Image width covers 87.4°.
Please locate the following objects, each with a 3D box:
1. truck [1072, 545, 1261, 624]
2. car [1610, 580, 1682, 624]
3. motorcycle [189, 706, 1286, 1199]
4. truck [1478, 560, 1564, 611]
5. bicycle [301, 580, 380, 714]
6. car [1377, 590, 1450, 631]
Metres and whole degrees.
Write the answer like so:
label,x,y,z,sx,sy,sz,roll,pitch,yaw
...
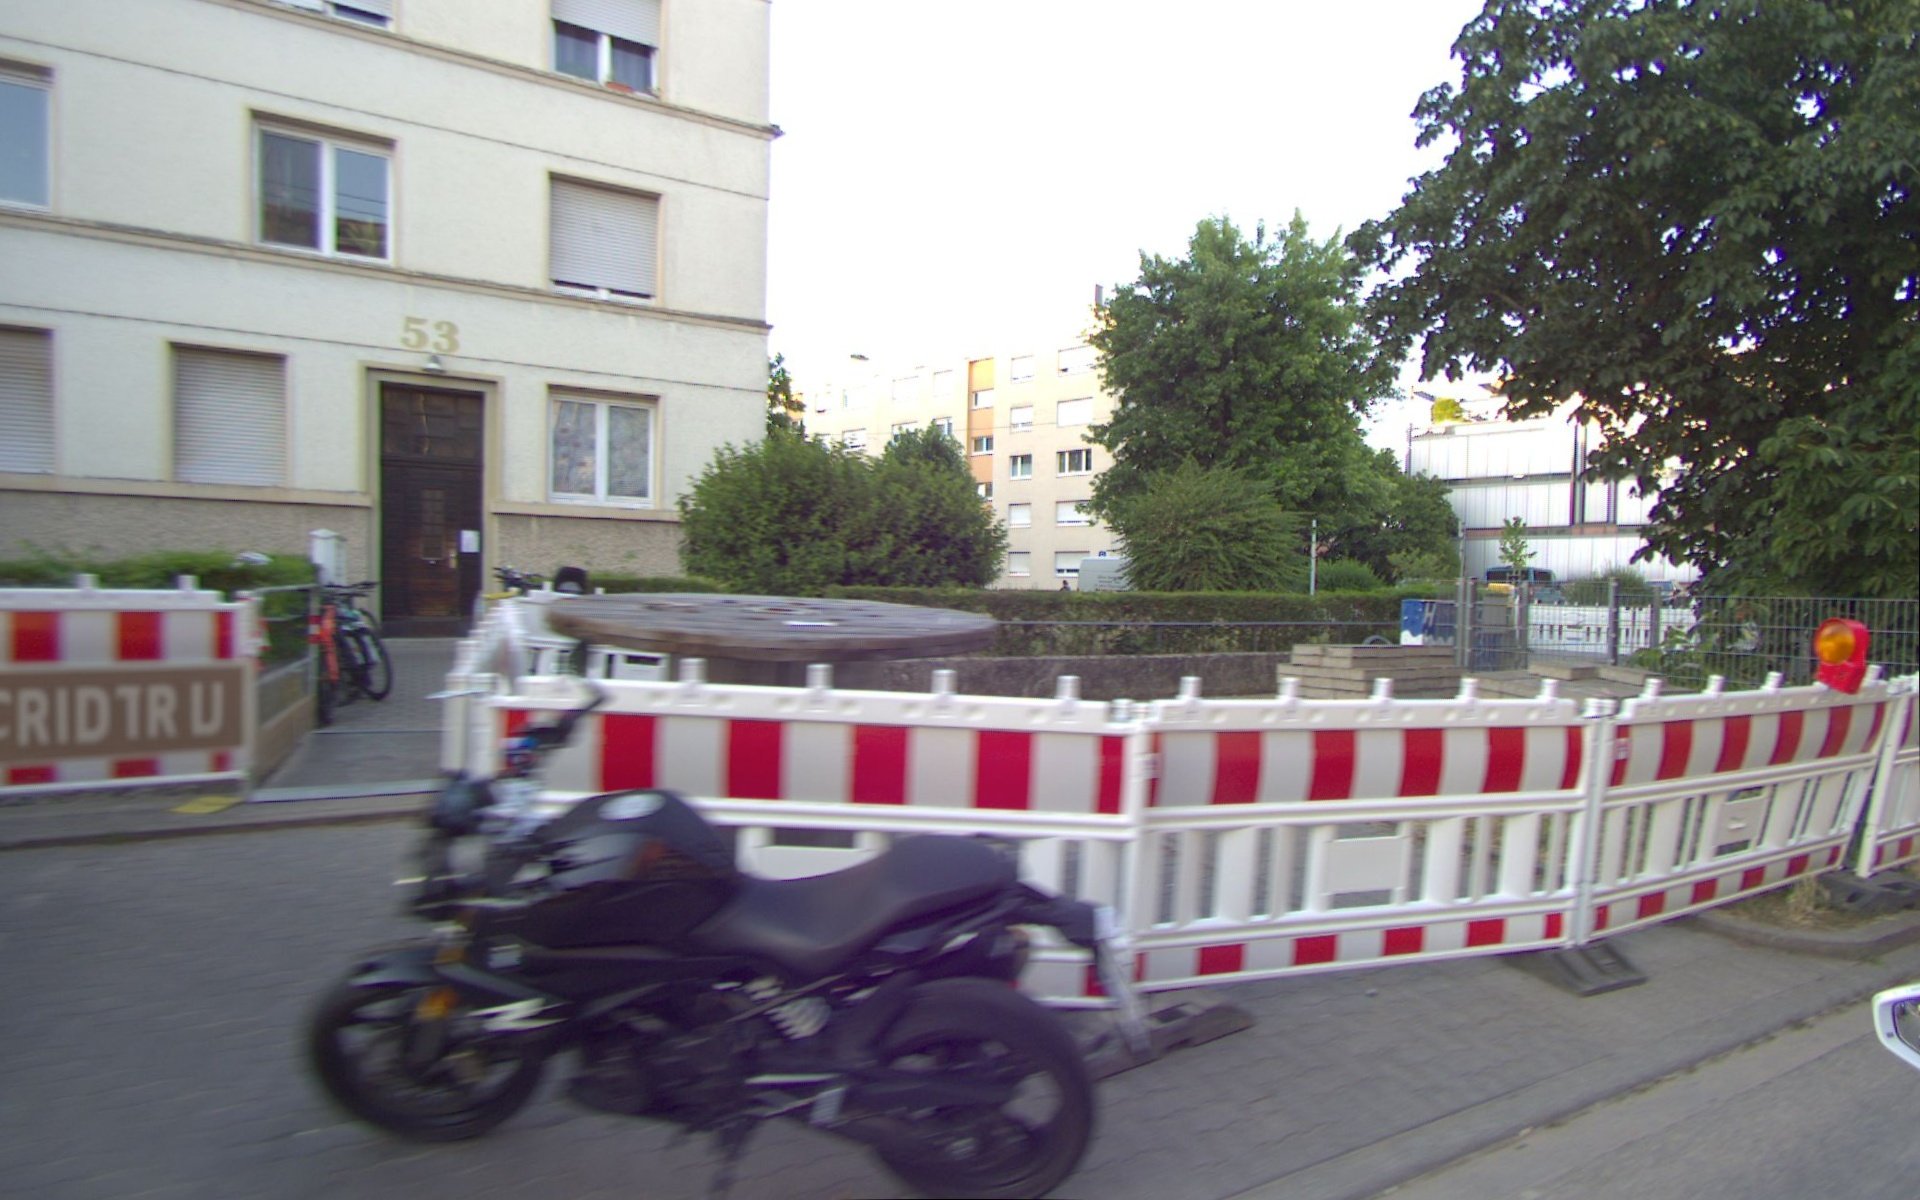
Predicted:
label,x,y,z,sx,sy,sz,roll,pitch,yaw
truck,6.813,-0.543,33.655,5.953,2.455,2.098,1,2,39
car,28.566,0.069,41.764,1.971,1.750,4.278,1,1,41
motorcycle,-0.457,0.841,2.280,2.168,1.034,0.539,2,3,0
truck,24.924,-0.612,44.566,4.481,2.118,2.085,0,1,-43
bicycle,-5.177,0.347,8.446,0.363,1.014,1.521,0,1,-24
car,21.913,0.491,48.441,1.972,1.850,4.202,1,1,43
